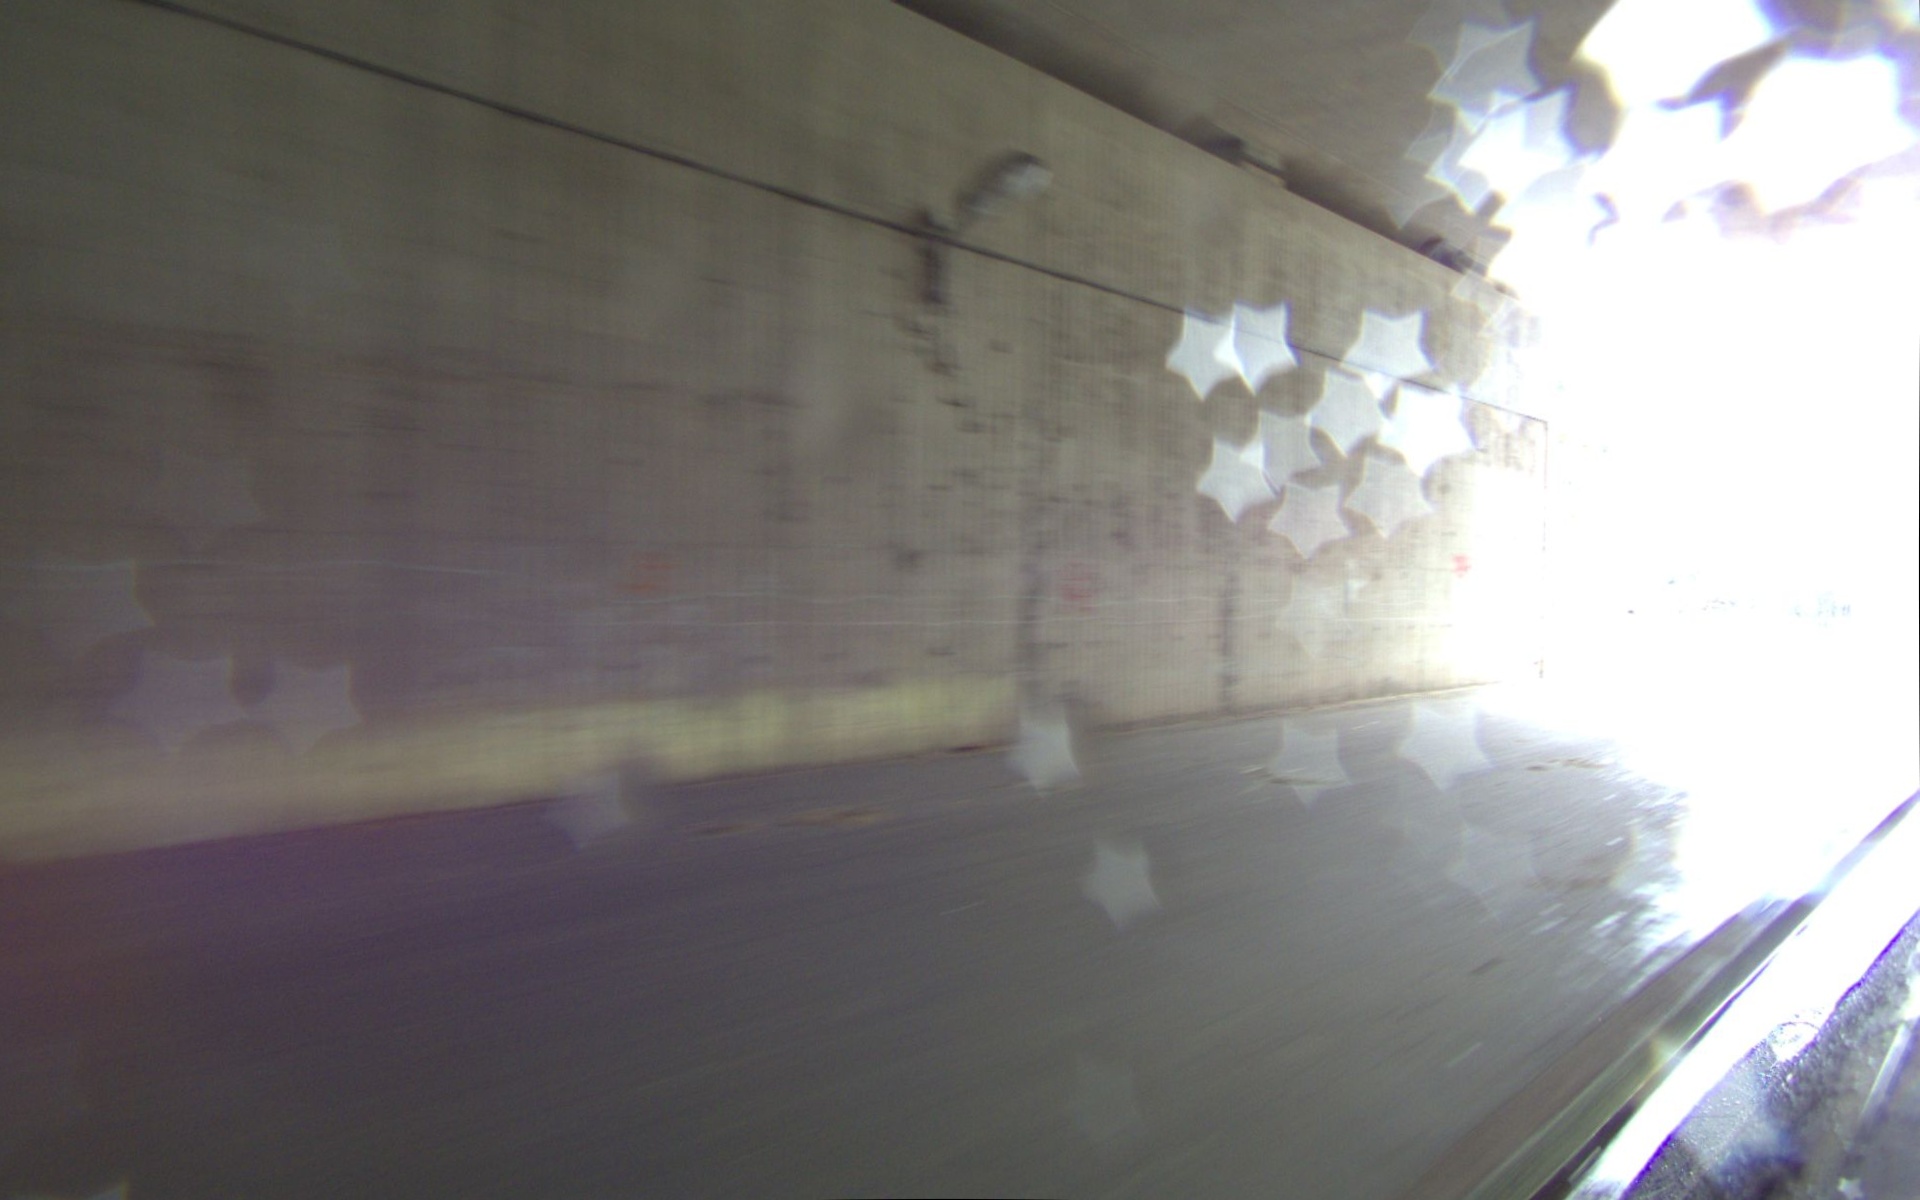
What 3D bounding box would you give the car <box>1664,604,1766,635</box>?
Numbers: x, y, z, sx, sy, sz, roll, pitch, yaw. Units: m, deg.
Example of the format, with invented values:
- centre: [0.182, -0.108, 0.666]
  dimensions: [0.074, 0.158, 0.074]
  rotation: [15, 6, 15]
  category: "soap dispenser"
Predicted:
- centre: [38.772, 0.982, 52.044]
  dimensions: [3.801, 1.551, 1.711]
  rotation: [-1, -1, 15]
  category: "car"
